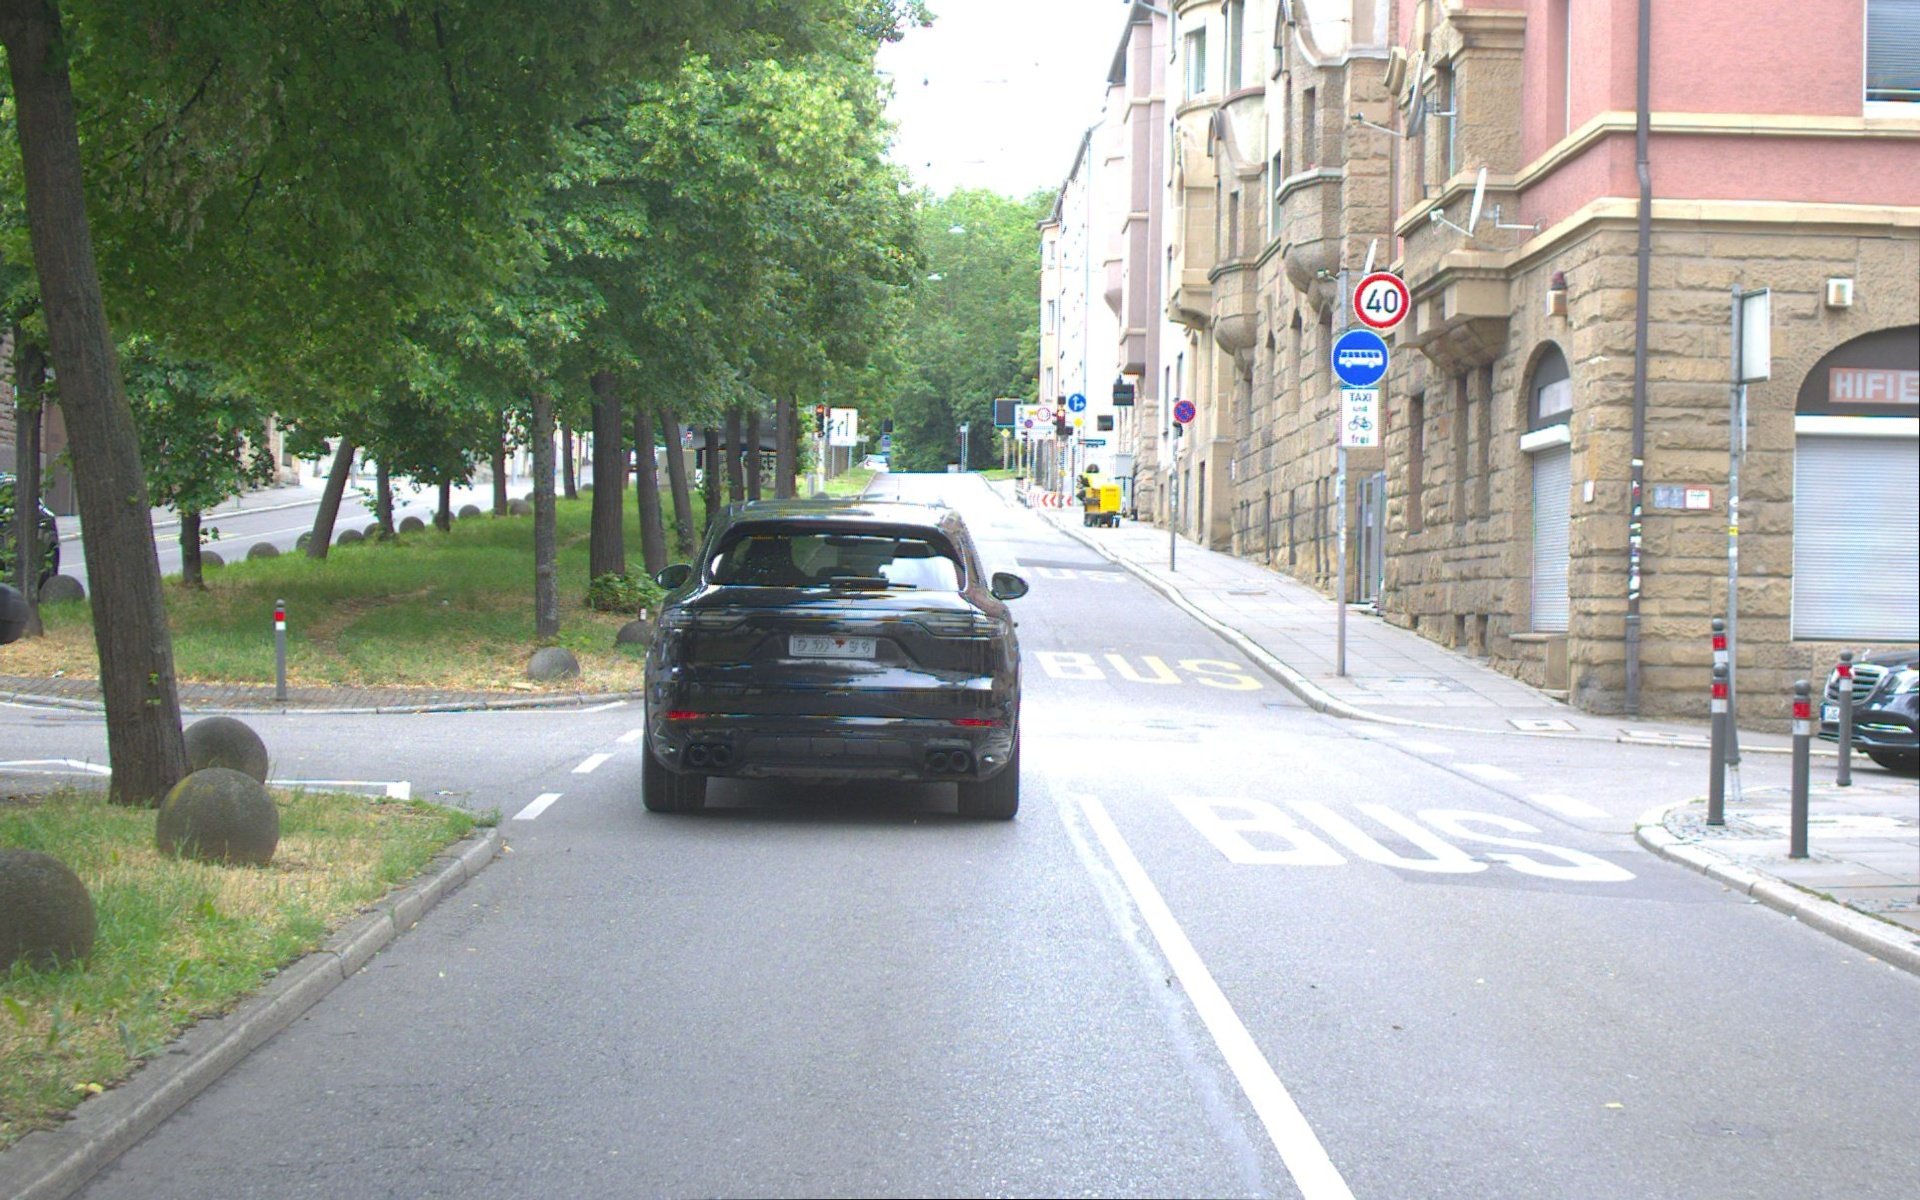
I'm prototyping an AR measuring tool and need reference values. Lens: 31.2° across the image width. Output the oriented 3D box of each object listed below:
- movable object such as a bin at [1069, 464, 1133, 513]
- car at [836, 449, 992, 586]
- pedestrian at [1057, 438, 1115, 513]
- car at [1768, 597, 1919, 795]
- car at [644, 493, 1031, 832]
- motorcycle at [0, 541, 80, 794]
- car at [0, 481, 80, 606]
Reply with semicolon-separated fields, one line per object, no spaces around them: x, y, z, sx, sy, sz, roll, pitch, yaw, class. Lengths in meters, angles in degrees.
3.759;-2.976;91.946;1.236;1.270;1.847;1;1;-13;movable object such as a bin
-0.615;-1.121;46.865;1.993;1.747;4.000;1;1;0;car
3.416;-3.369;93.335;1.300;2.007;1.020;1;1;-12;pedestrian
8.420;0.695;26.052;3.986;1.371;2.001;0;1;-11;car
-0.696;0.269;19.270;1.903;1.660;4.136;1;1;-2;car
-4.907;0.305;15.877;1.062;1.144;2.448;0;1;0;motorcycle
-12.384;-0.729;42.245;1.993;1.478;4.532;1;2;-1;car
